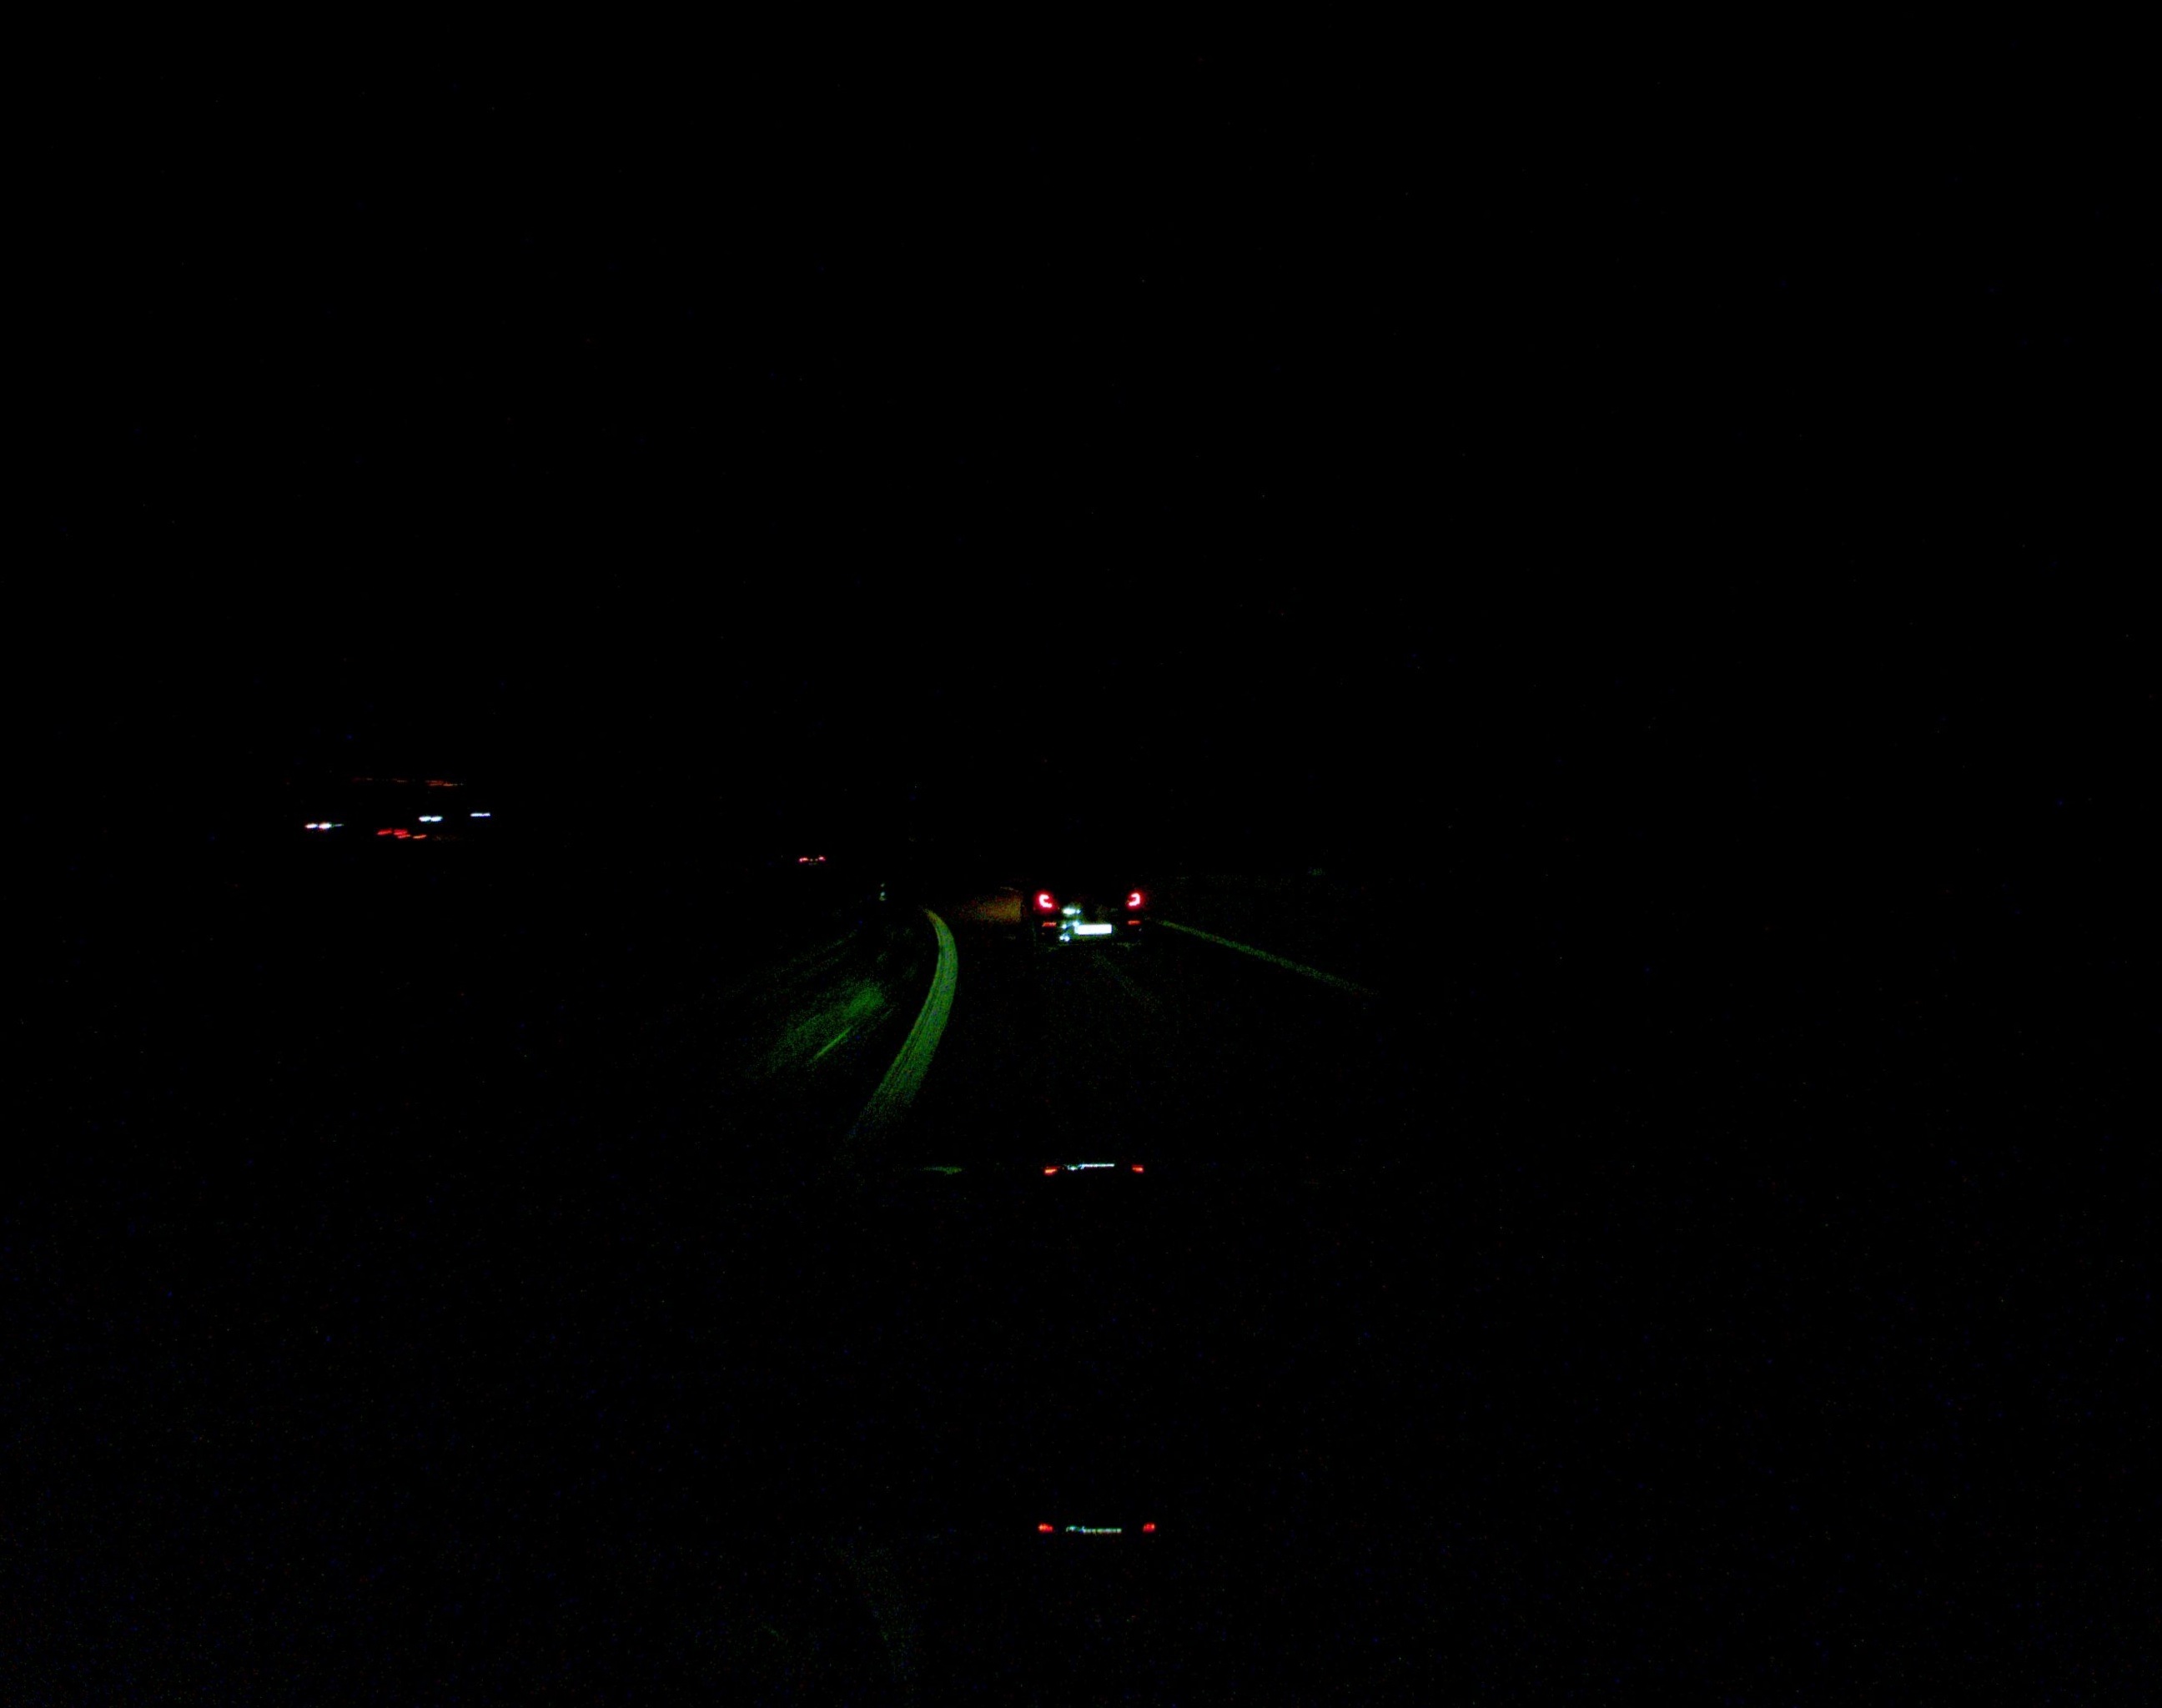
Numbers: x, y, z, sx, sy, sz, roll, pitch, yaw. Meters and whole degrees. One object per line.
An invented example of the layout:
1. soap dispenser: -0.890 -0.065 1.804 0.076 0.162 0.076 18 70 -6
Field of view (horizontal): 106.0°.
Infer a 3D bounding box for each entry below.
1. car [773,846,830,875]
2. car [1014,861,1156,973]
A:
1. car: -17.545 0.383 51.077 1.968 1.537 4.192 -4 5 -40
2. car: -0.090 0.893 13.306 1.690 1.478 3.988 -2 -1 -8
